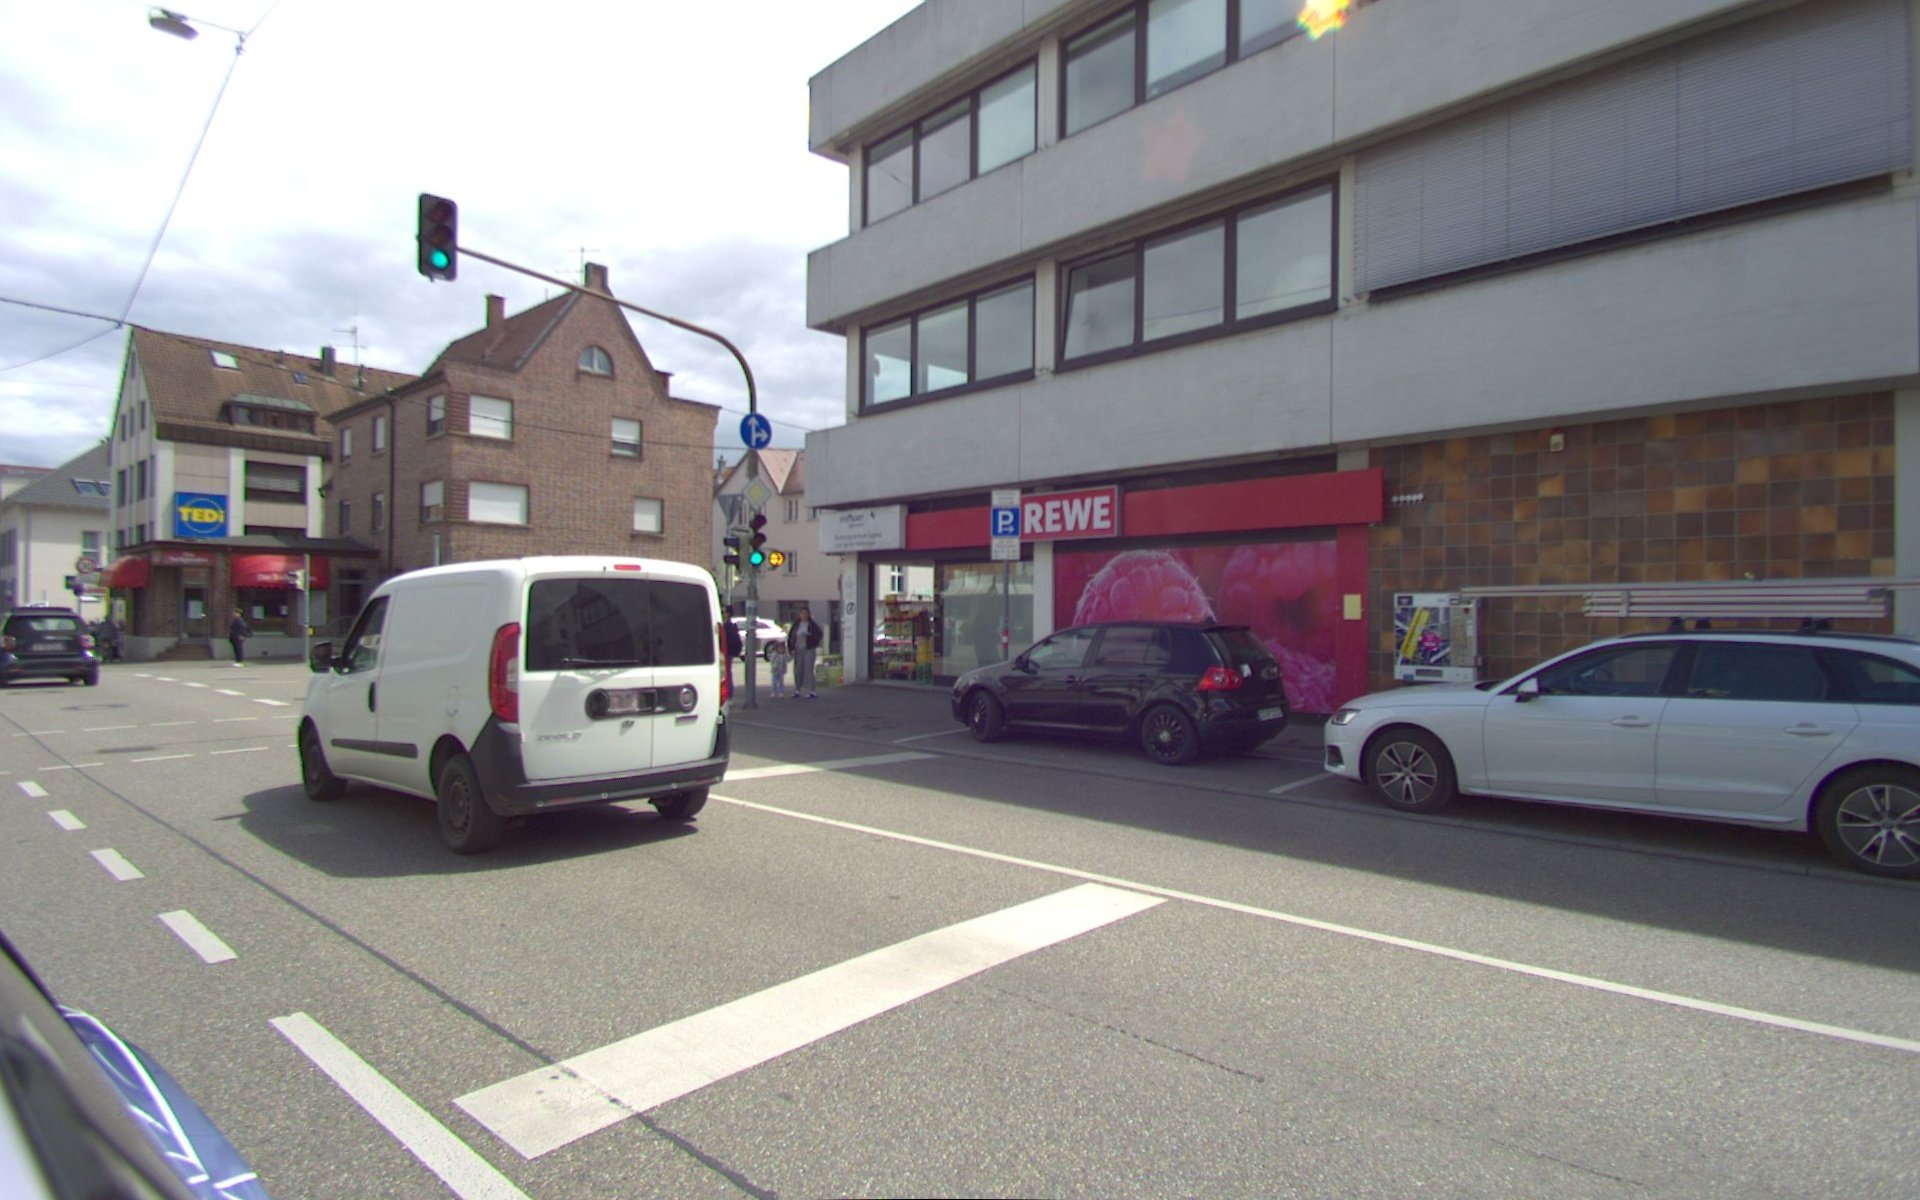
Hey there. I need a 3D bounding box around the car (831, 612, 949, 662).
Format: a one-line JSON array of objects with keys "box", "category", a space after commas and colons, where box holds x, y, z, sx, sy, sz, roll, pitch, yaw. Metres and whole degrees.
[{"box": [-2.604, 1.392, 38.454, 1.999, 1.768, 4.291, -1, -2, 42], "category": "car"}]

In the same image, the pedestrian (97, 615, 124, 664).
[{"box": [-30.424, 1.404, 36.244, 0.674, 1.729, 0.878, 2, -2, -42], "category": "pedestrian"}]

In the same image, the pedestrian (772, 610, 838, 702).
[{"box": [-2.765, 0.972, 18.053, 0.809, 1.566, 0.846, 0, -1, -43], "category": "pedestrian"}]

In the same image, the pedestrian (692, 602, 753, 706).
[{"box": [-3.901, 0.865, 16.588, 0.709, 1.657, 0.682, 0, -1, -43], "category": "pedestrian"}]

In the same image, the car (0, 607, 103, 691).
[{"box": [-19.360, 0.992, 21.220, 2.831, 1.648, 1.659, -1, -2, 40], "category": "car"}]

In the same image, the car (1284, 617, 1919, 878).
[{"box": [5.189, 0.875, 7.472, 2.021, 1.455, 4.955, 0, -1, -45], "category": "car"}]

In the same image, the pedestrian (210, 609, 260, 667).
[{"box": [-22.239, 1.155, 31.045, 0.839, 1.736, 0.906, 0, -2, 0], "category": "pedestrian"}]

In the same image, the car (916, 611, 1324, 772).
[{"box": [1.701, 0.901, 11.733, 4.285, 1.486, 2.022, -1, -1, 43], "category": "car"}]

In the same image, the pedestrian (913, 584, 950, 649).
[{"box": [-0.775, 0.460, 27.805, 0.813, 1.753, 0.842, -1, -1, 13], "category": "pedestrian"}]

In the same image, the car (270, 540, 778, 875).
[{"box": [-3.491, 0.641, 7.709, 4.277, 1.835, 1.925, -1, -2, 42], "category": "car"}]
